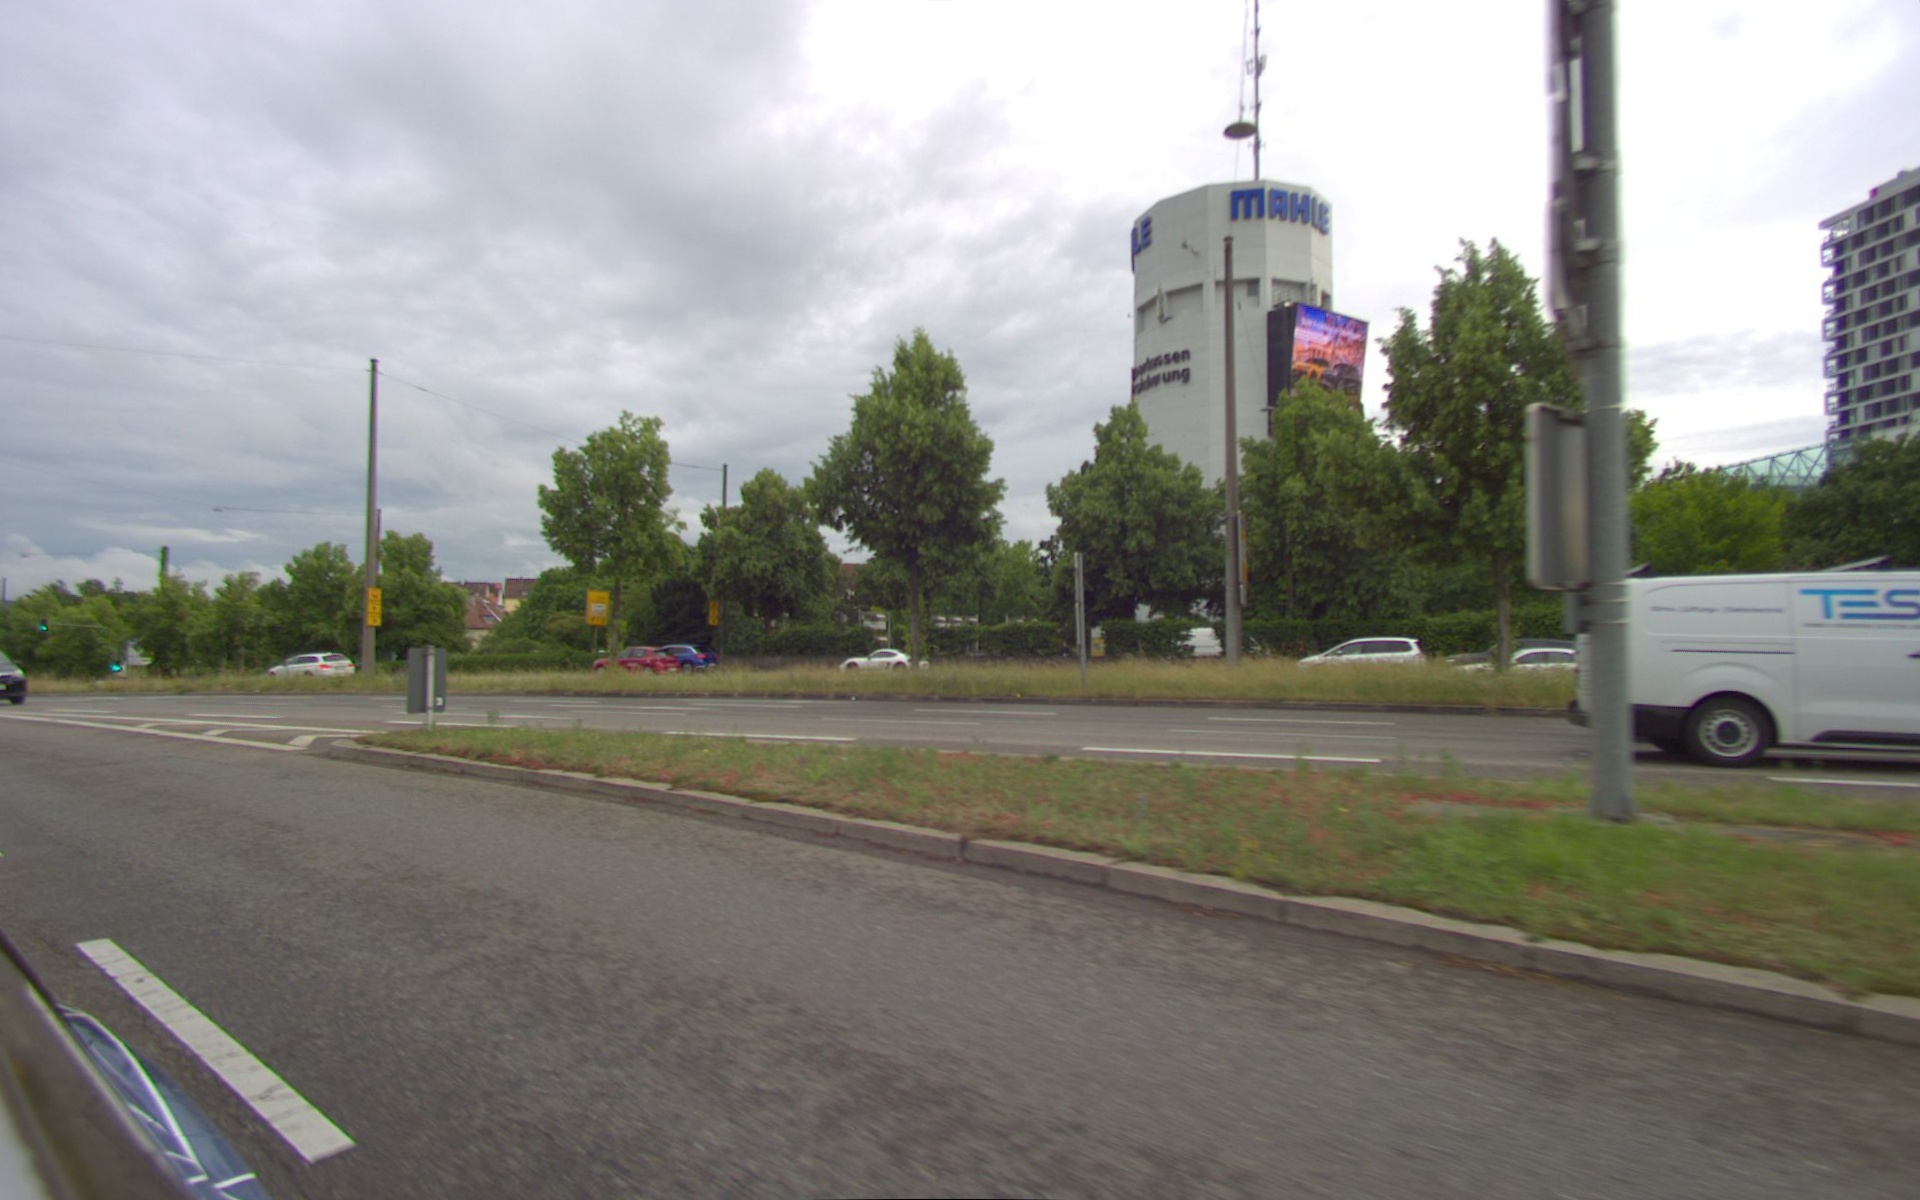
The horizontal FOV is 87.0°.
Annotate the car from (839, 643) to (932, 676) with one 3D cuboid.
[{"bbox_3d":[-3.428,2.732,46.449,3.956,1.402,1.653,-2,-3,24],"label":"car"}]

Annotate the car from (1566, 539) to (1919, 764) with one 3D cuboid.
[{"bbox_3d":[8.972,0.493,9.763,5.059,1.988,1.895,-1,-3,23],"label":"car"}]

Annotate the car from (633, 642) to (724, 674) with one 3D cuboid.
[{"bbox_3d":[-13.523,2.798,48.553,3.958,1.453,1.867,-2,-3,25],"label":"car"}]

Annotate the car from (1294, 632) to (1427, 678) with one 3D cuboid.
[{"bbox_3d":[15.719,2.146,39.826,4.715,1.684,1.984,-2,-2,24],"label":"car"}]

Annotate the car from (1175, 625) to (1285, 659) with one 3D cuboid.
[{"bbox_3d":[18.270,2.835,68.544,6.949,2.147,2.374,-1,-1,21],"label":"car"}]

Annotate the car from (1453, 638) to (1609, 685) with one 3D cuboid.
[{"bbox_3d":[19.757,2.120,35.070,4.566,1.495,1.914,-2,-2,33],"label":"car"}]

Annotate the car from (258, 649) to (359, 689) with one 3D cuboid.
[{"bbox_3d":[-31.984,3.382,49.687,4.845,1.784,1.982,-2,-2,26],"label":"car"}]

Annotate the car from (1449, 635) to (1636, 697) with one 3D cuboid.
[{"bbox_3d":[16.988,1.904,29.721,4.586,1.671,1.880,-2,-2,30],"label":"car"}]

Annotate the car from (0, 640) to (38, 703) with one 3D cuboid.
[{"bbox_3d":[-26.014,1.851,26.212,4.021,1.577,1.786,-2,-3,26],"label":"car"}]

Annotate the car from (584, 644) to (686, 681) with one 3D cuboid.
[{"bbox_3d":[-14.241,2.747,44.379,3.971,1.543,1.902,-2,-3,21],"label":"car"}]
